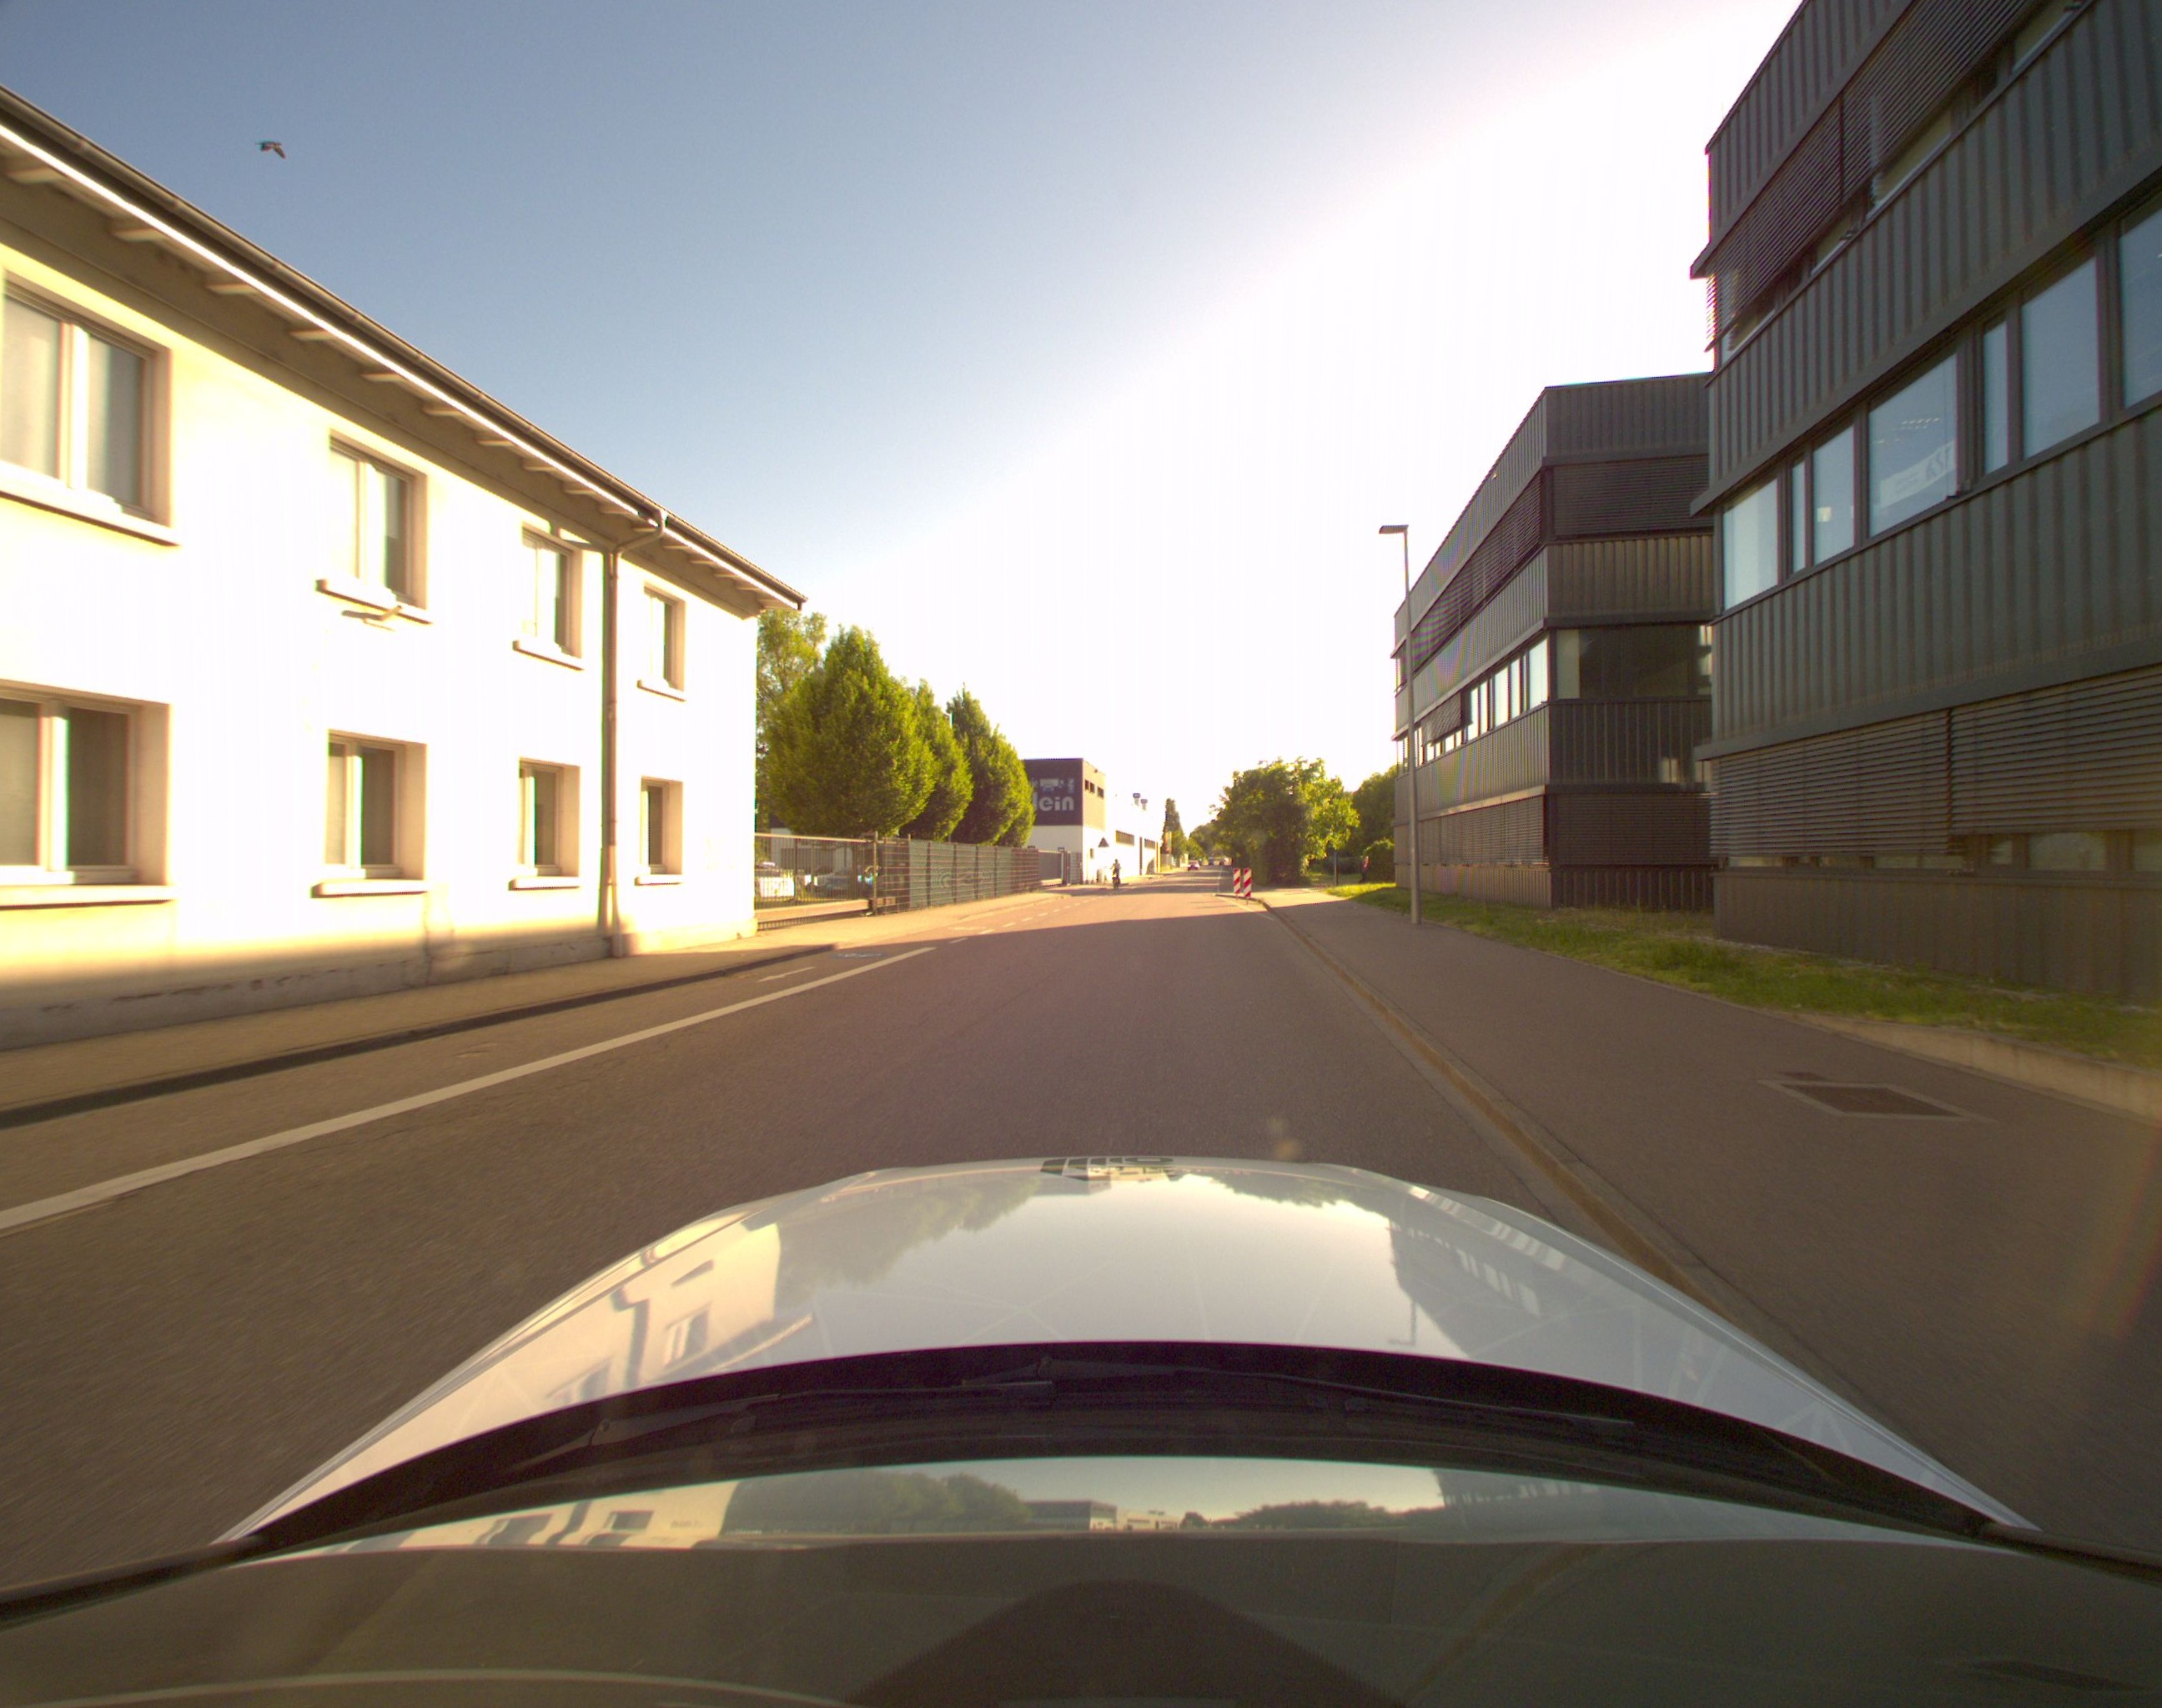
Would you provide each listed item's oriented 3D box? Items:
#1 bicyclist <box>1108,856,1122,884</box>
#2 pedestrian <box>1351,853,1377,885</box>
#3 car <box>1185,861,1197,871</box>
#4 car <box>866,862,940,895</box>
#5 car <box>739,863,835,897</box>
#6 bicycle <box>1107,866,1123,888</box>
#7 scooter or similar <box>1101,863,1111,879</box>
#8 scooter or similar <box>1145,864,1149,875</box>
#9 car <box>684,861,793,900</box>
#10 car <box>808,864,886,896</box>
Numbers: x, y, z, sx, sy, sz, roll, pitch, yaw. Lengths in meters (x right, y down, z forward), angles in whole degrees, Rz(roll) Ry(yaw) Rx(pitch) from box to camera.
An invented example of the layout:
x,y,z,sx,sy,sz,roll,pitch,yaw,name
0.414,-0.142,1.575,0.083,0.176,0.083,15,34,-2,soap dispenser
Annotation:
x,y,z,sx,sy,sz,roll,pitch,yaw,name
2.019,0.912,47.865,0.742,1.628,0.835,-1,-1,8,bicyclist
16.489,0.875,47.476,1.146,1.792,0.898,-3,-1,5,pedestrian
17.406,1.894,128.429,1.807,1.489,4.009,-4,-1,8,car
-8.342,1.115,38.534,1.981,1.451,4.011,0,-1,10,car
-14.417,1.258,39.967,3.962,1.540,1.881,-2,-1,10,car
2.011,1.337,47.863,0.663,1.288,2.177,-1,-1,8,bicycle
1.880,1.252,60.959,0.504,1.203,1.758,3,0,10,scooter or similar
7.618,1.821,94.300,0.413,1.267,1.062,0,-1,10,scooter or similar
-15.007,1.153,35.793,3.962,1.540,1.881,-2,-1,10,car
-11.112,1.218,38.917,1.981,1.451,4.011,0,-1,10,car
